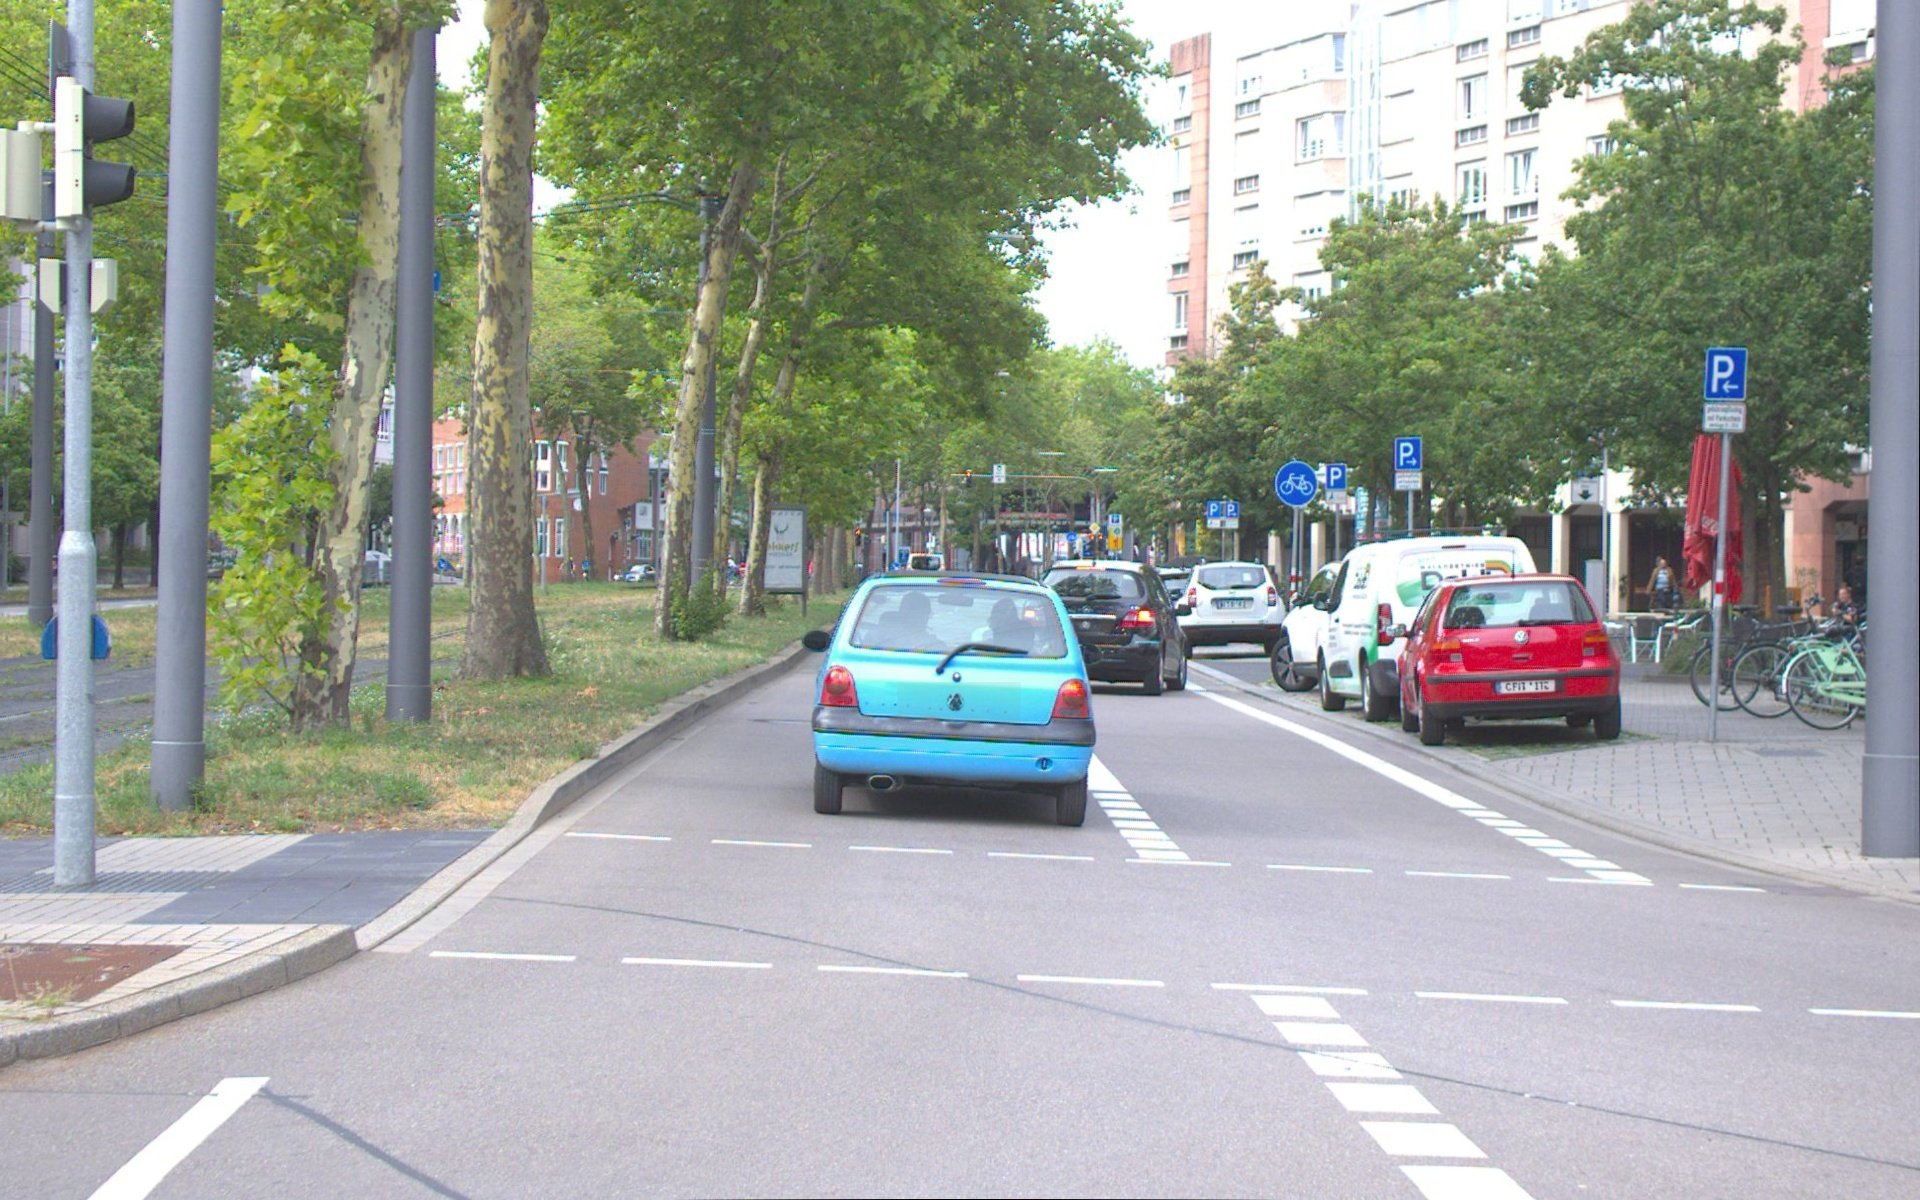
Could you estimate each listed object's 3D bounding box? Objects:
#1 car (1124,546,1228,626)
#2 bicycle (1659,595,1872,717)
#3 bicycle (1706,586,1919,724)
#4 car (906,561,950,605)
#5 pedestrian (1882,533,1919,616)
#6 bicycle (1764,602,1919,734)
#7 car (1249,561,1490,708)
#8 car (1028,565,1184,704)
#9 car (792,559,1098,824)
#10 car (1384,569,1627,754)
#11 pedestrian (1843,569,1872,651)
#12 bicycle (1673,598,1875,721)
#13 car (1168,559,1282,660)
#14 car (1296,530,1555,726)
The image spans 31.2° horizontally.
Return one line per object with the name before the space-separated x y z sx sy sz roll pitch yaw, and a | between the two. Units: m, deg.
car | 4.282 -0.301 68.603 1.715 1.513 4.204 -1 1 -1
bicycle | 8.173 0.567 34.918 2.056 1.193 0.479 1 1 8
bicycle | 8.472 0.518 32.598 2.632 1.254 0.655 1 1 0
car | -1.434 -0.798 157.277 1.931 1.919 4.956 1 1 0
pedestrian | 17.886 -0.492 65.265 0.710 1.550 0.798 1 1 13
bicycle | 8.014 0.587 30.082 1.848 1.135 0.493 0 1 -6
car | 4.968 0.375 42.373 1.994 1.597 4.584 -2 1 -5
car | 1.852 0.384 42.474 1.775 1.571 4.304 -1 1 4
car | -0.066 0.479 20.760 1.640 1.381 3.843 2 1 0
car | 4.761 0.490 30.510 1.722 1.428 4.253 -2 1 4
pedestrian | 17.109 0.188 65.554 0.512 1.550 0.473 1 1 13
bicycle | 8.133 0.589 34.385 1.909 1.193 0.479 1 1 8
car | 4.552 0.131 59.483 1.861 1.647 4.163 0 1 3
car | 4.732 0.223 35.558 1.826 1.858 4.649 -1 1 -3
